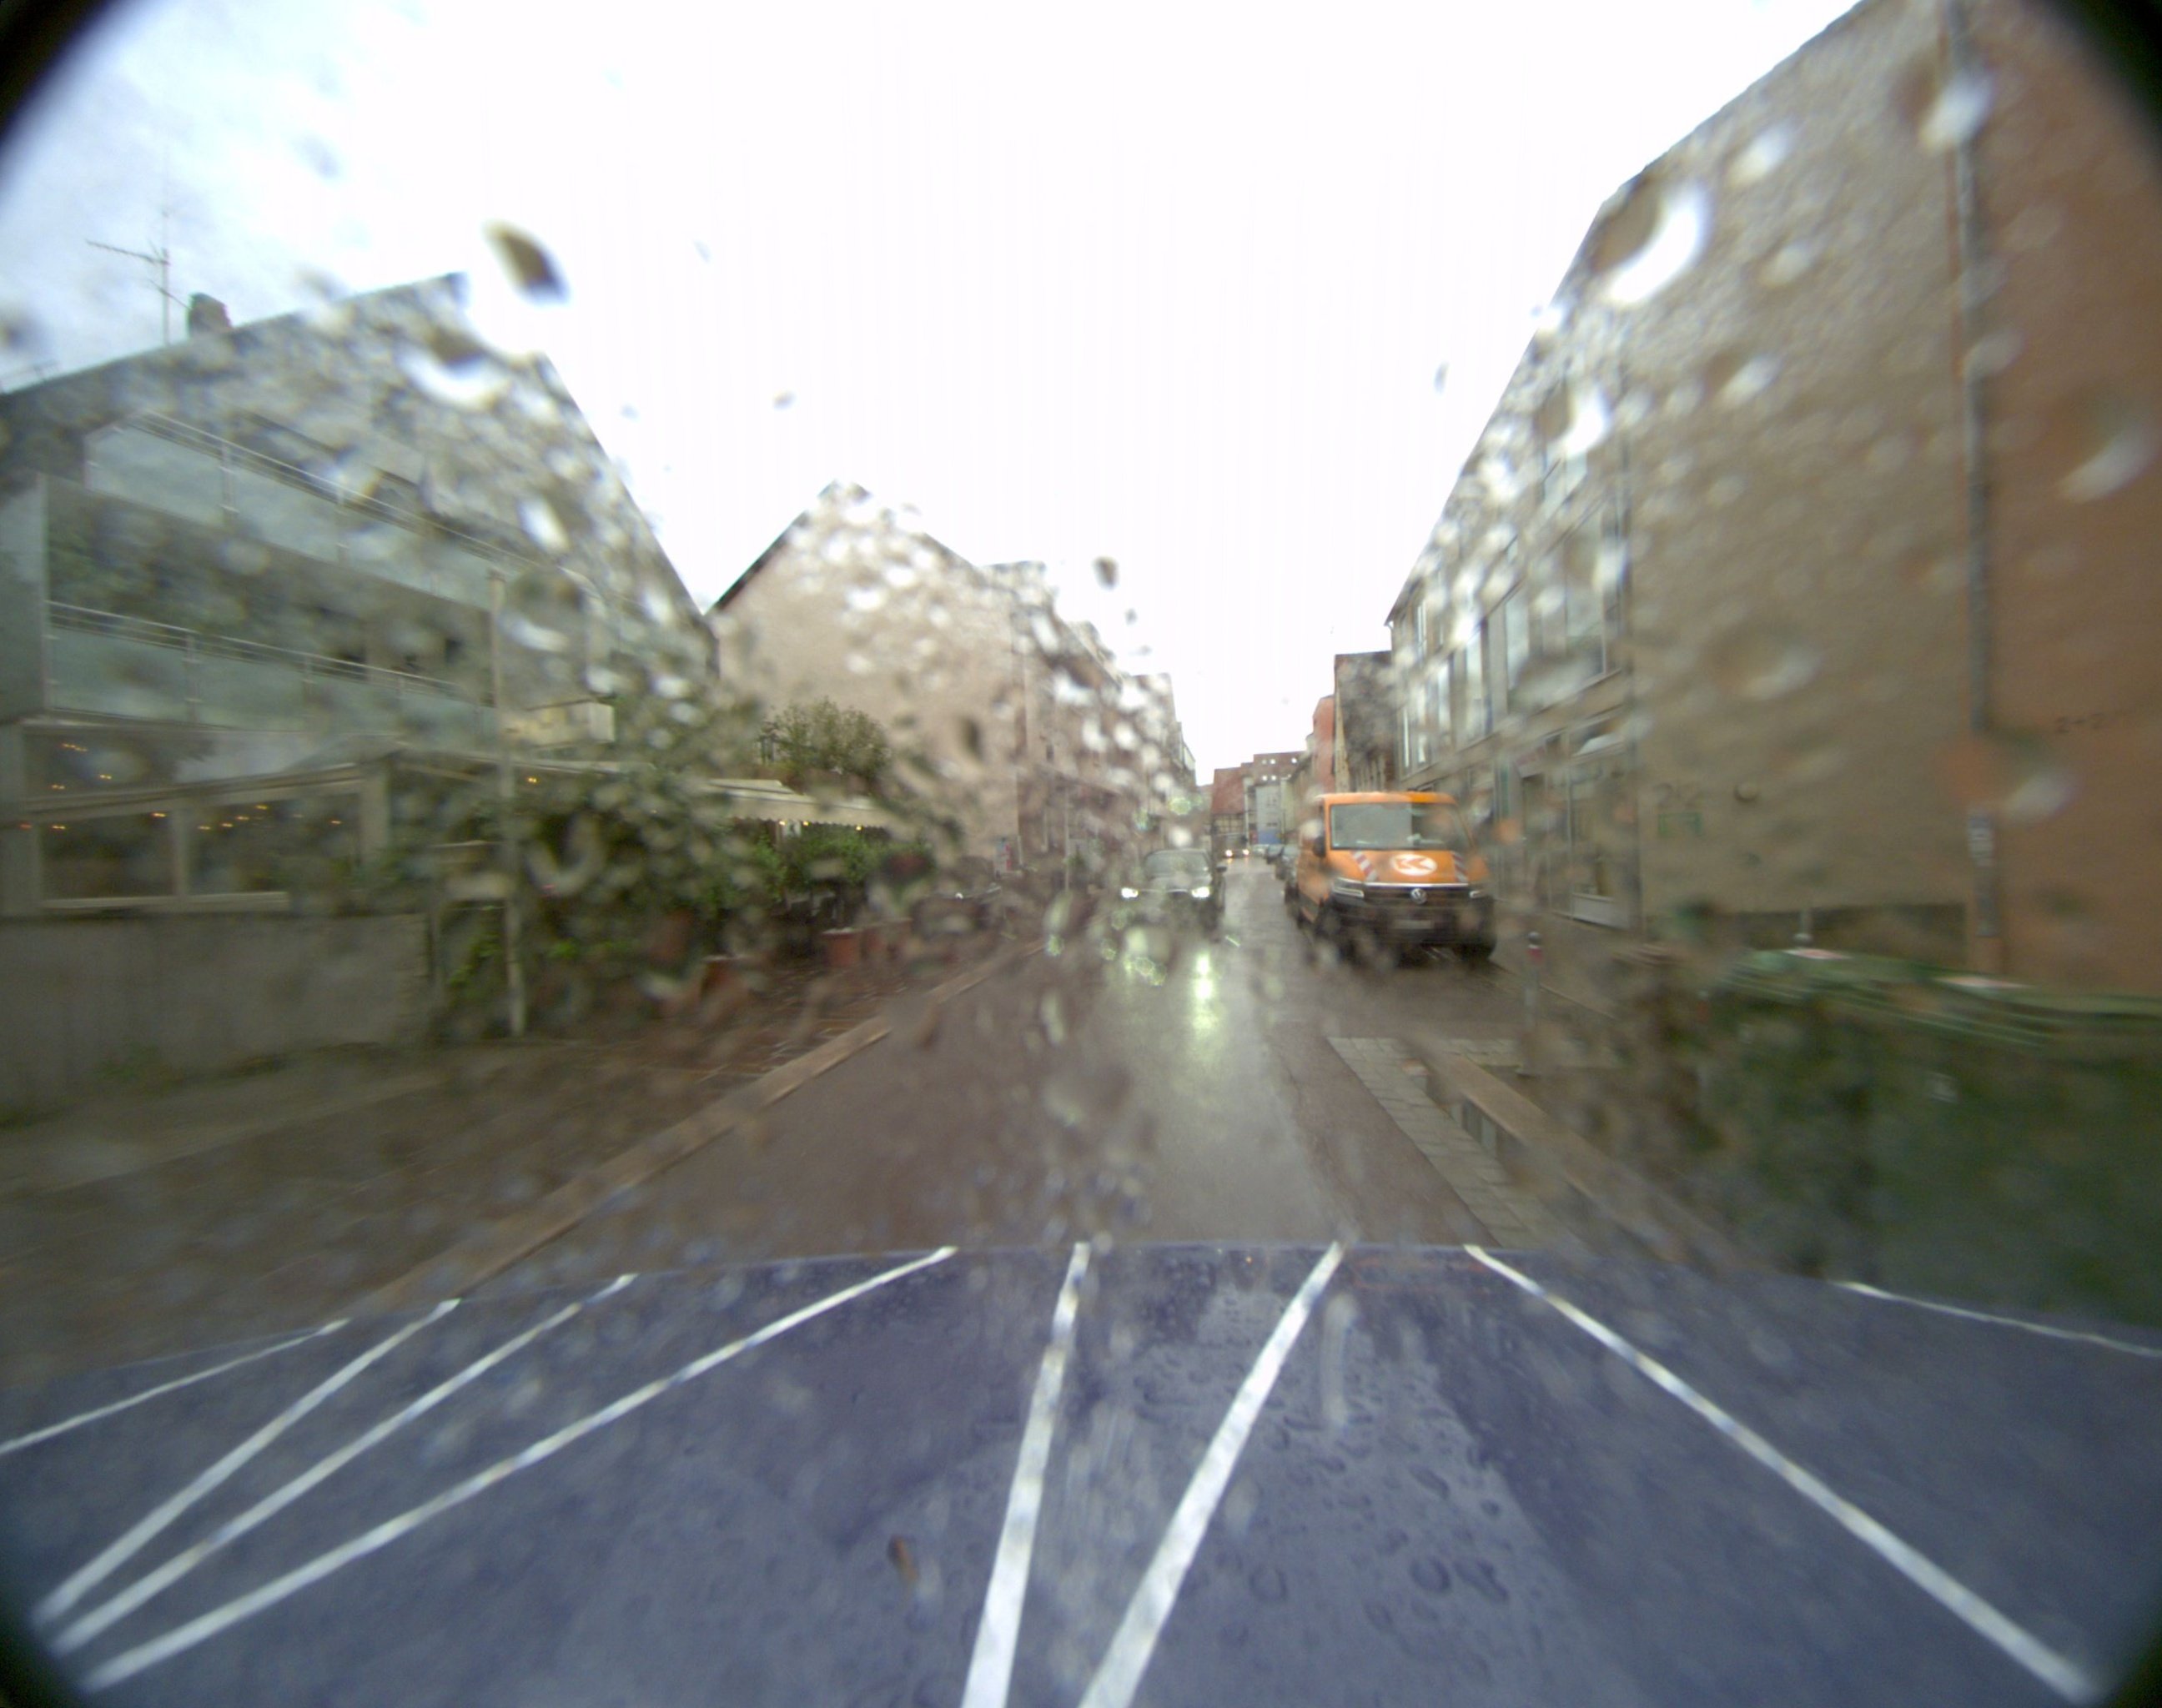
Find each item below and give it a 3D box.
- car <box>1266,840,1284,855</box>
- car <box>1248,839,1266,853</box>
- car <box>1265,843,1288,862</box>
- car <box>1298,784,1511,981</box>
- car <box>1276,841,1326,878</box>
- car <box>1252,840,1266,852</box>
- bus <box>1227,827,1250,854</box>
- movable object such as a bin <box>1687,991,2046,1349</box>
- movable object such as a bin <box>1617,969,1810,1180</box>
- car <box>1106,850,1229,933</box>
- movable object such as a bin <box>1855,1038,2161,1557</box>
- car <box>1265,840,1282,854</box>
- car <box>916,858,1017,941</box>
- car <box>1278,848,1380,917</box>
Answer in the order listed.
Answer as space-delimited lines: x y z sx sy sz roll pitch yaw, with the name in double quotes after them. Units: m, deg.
19.362 -0.653 75.792 1.630 1.359 3.492 -2 0 13 "car"
21.237 -0.964 91.698 1.996 1.587 4.003 -1 1 13 "car"
15.165 -0.108 59.041 1.630 1.359 3.492 -2 0 13 "car"
4.538 0.292 11.666 1.996 2.227 5.866 -1 1 13 "car"
9.807 0.198 34.084 1.738 1.516 3.933 -1 1 10 "car"
22.633 -1.024 96.550 1.630 1.359 3.492 -2 0 13 "car"
20.028 -1.712 96.770 2.608 3.175 7.380 -1 1 11 "bus"
2.759 1.074 2.740 0.658 1.031 0.610 -2 1 3 "movable object such as a bin"
3.190 1.087 3.879 0.582 0.922 0.482 -2 1 12 "movable object such as a bin"
1.961 0.680 15.804 1.945 1.394 4.424 -2 1 14 "car"
2.699 1.081 2.013 0.658 1.031 0.610 0 1 3 "movable object such as a bin"
20.299 -0.753 80.290 1.630 1.359 3.492 -2 0 13 "car"
-2.392 0.815 15.502 1.739 1.349 3.932 -2 1 -10 "car"
5.644 0.579 17.764 1.759 1.348 4.485 -1 1 12 "car"
